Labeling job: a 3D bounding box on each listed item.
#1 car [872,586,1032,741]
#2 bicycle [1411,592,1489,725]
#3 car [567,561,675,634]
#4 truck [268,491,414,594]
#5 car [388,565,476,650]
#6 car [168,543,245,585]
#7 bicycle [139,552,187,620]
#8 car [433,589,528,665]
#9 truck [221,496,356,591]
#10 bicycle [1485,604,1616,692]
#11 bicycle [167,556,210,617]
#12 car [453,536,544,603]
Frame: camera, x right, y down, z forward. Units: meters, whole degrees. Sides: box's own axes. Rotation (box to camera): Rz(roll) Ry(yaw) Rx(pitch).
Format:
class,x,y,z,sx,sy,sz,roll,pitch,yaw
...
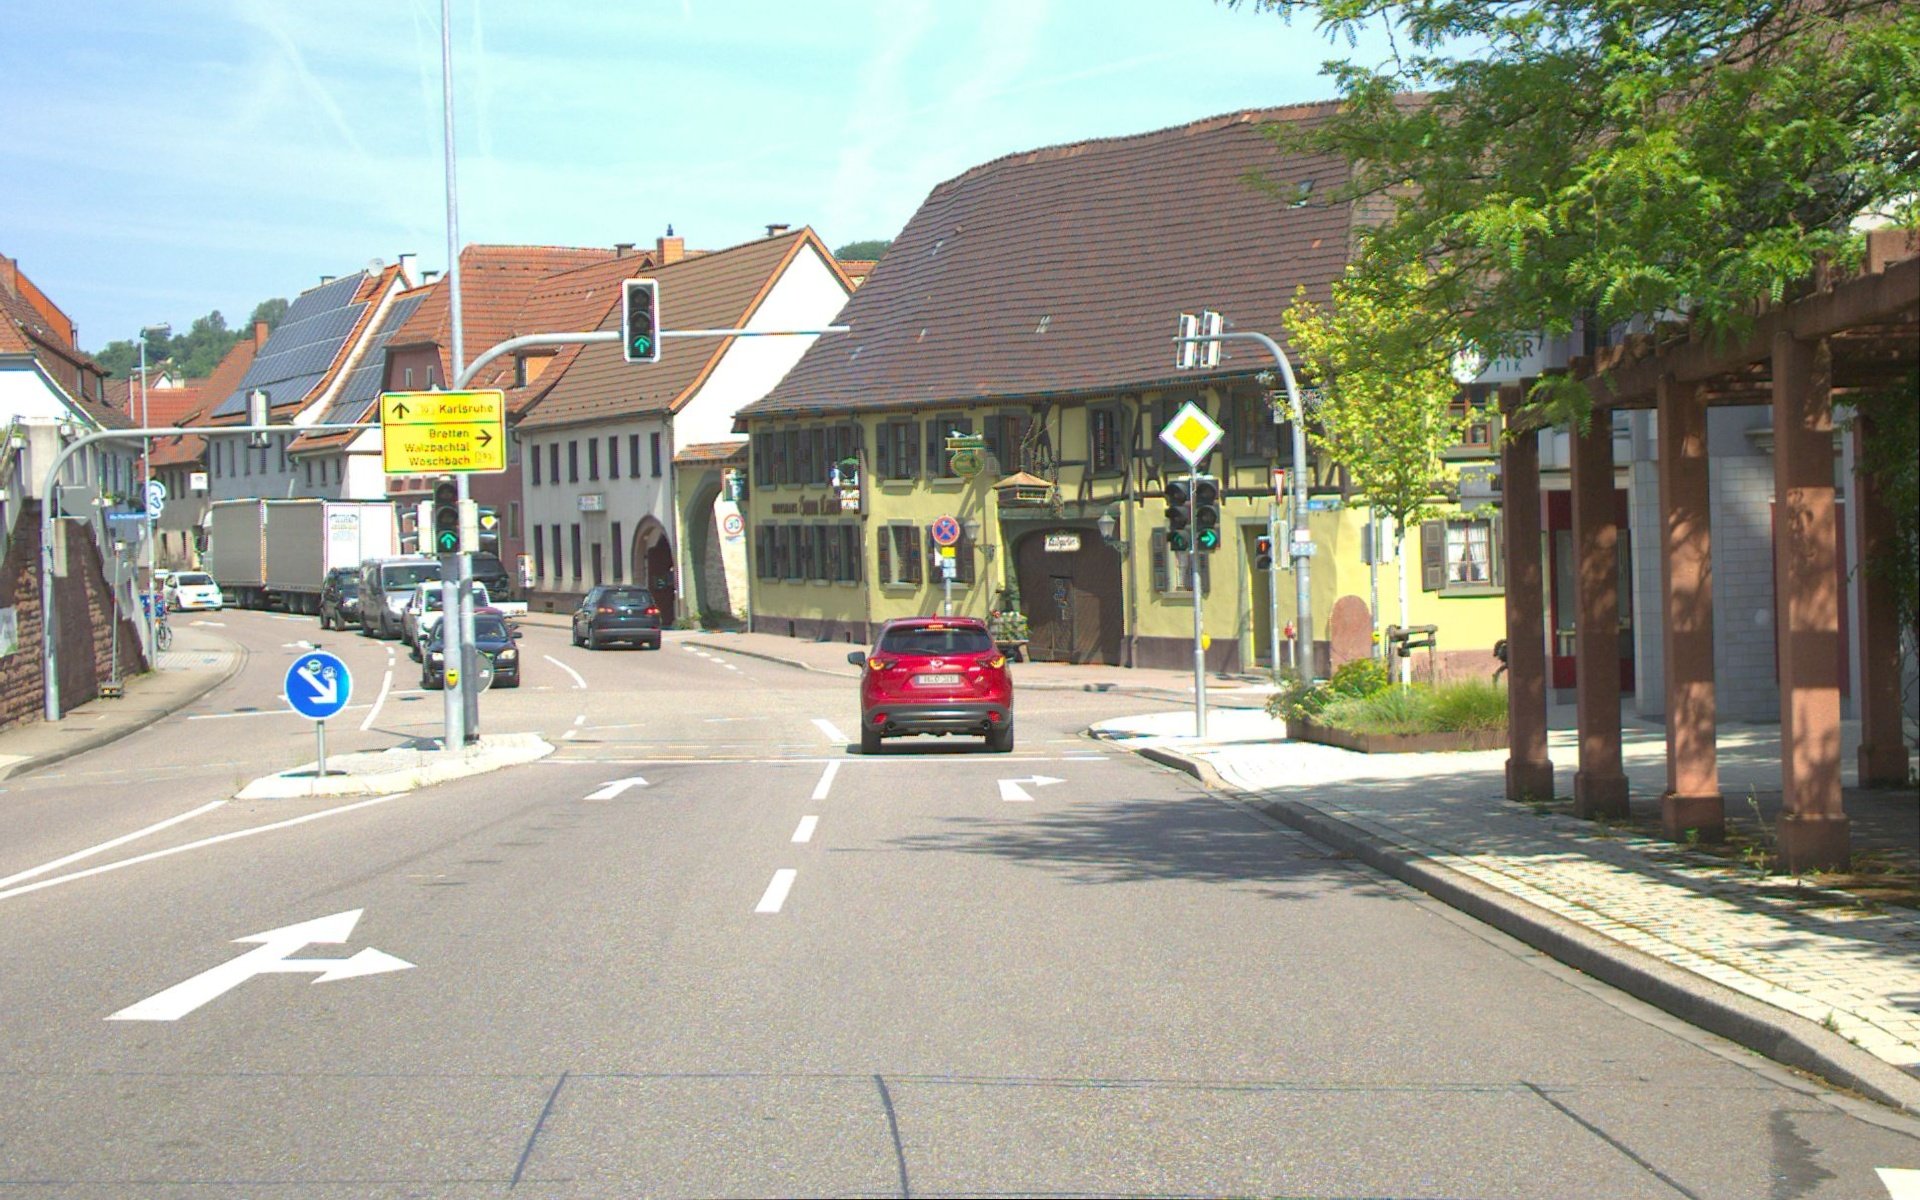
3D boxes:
class,x,y,z,sx,sy,sz,roll,pitch,yaw
car,-0.049,0.742,42.422,1.804,1.657,3.812,-2,2,2
bicycle,5.014,0.580,35.273,0.529,1.275,1.992,-4,1,3
car,-8.792,-0.094,88.933,1.820,1.733,4.006,-2,2,-19
truck,-22.263,-2.078,123.264,3.222,3.537,9.233,1,1,-23
car,-13.083,0.145,85.017,1.820,1.899,4.966,-1,2,-12
car,-28.283,-1.365,128.971,1.785,1.521,4.006,-3,2,-28
bicycle,-21.428,-0.391,92.451,0.641,1.773,2.670,1,1,0
car,-10.030,0.546,71.746,1.820,1.429,4.250,-1,1,-10
truck,-25.974,-2.139,132.492,3.158,3.448,10.715,1,0,-22
bicycle,8.688,0.700,50.587,1.803,1.230,0.549,-2,1,0
bicycle,-20.701,-0.366,92.330,0.558,1.602,2.562,1,1,0
car,-14.328,-0.967,106.596,1.846,2.007,4.001,1,1,-22
